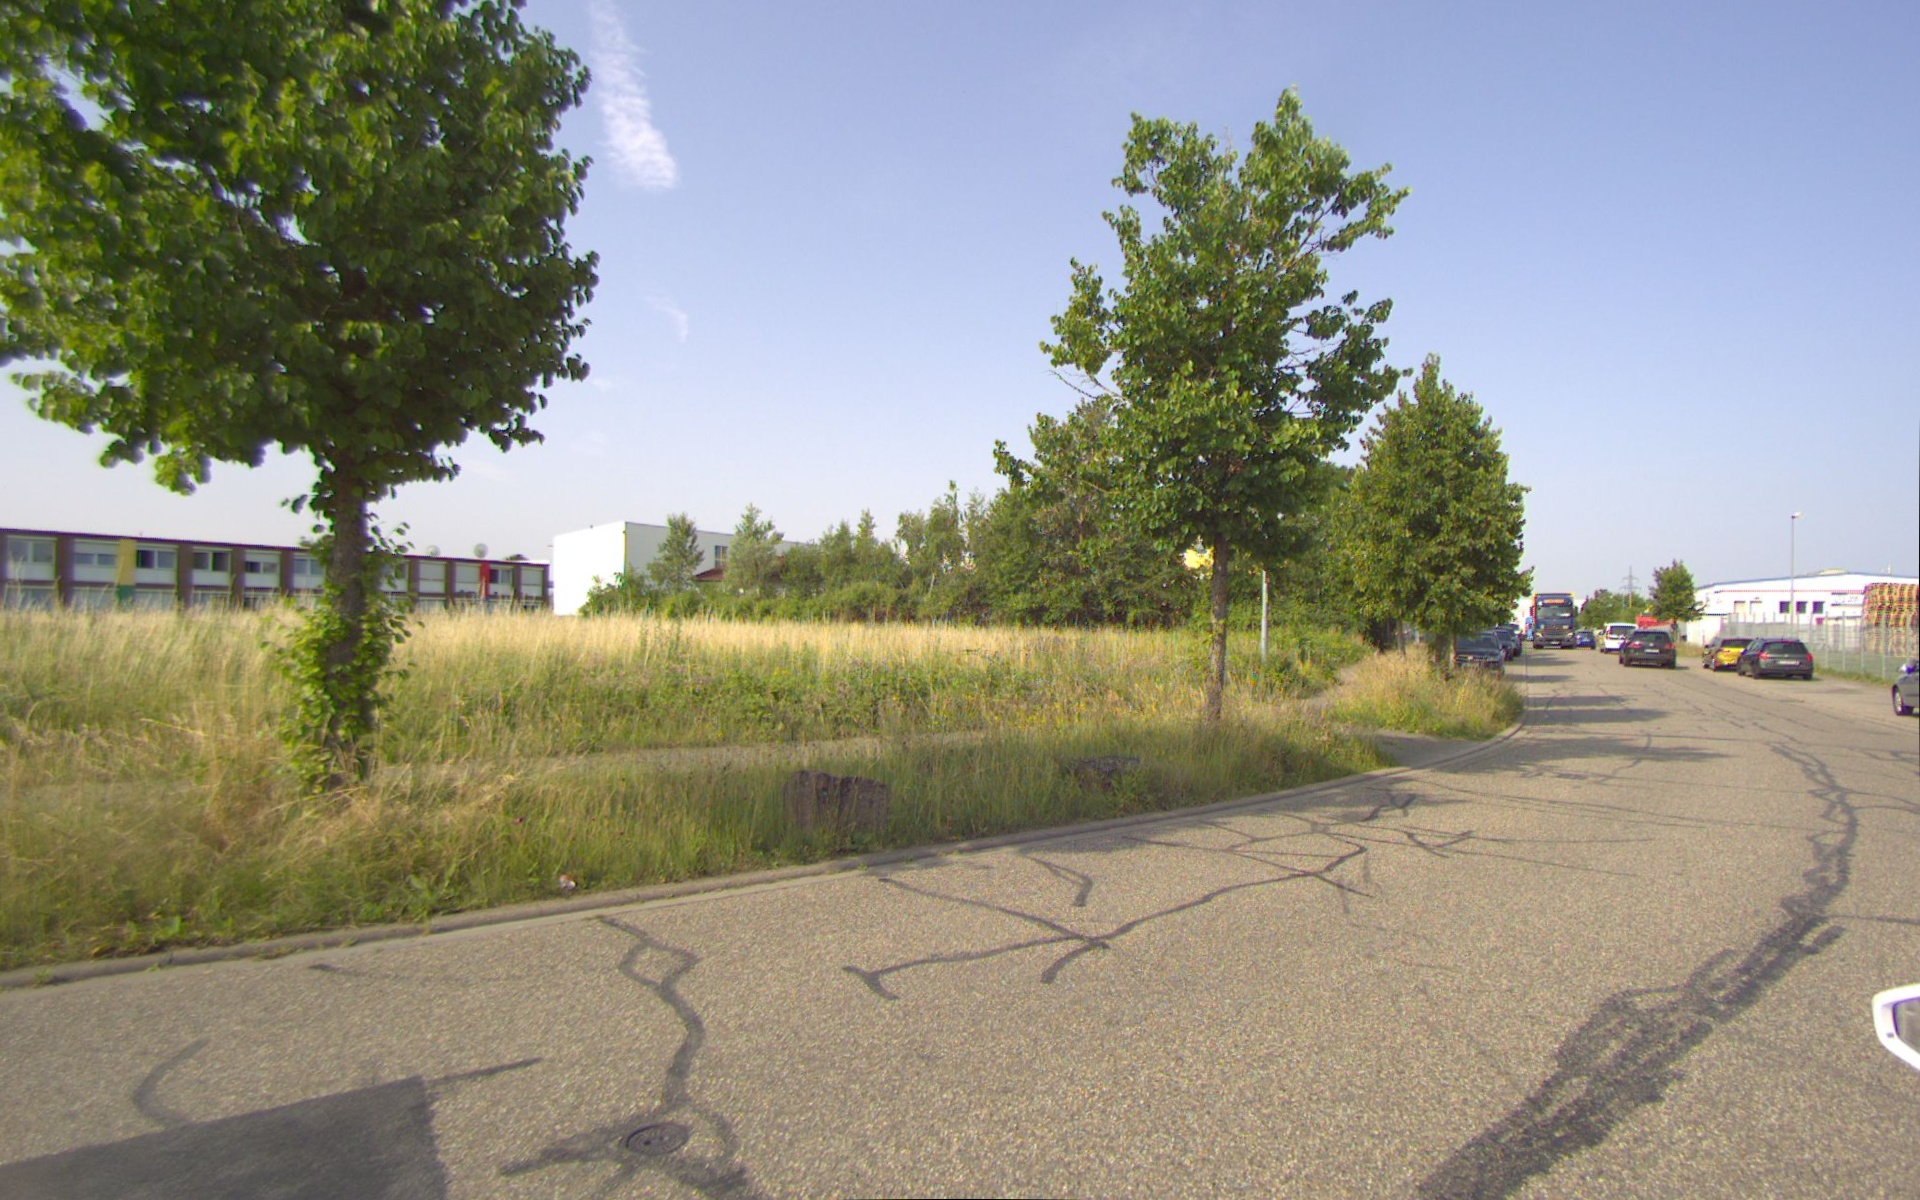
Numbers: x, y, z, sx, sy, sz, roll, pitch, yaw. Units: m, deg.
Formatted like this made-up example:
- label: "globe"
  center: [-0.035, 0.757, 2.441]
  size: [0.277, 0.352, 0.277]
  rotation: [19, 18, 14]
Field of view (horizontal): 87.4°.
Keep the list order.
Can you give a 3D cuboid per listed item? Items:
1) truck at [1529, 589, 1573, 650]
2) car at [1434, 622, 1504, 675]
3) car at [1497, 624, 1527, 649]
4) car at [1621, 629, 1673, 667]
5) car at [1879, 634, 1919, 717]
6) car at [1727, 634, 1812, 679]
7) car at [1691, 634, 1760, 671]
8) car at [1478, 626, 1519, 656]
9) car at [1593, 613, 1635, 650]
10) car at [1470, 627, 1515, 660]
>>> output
- label: "truck"
  center: [43.963, 1.504, 74.894]
  size: [2.461, 4.200, 10.362]
  rotation: [-1, -2, 29]
- label: "car"
  center: [17.893, 1.642, 35.180]
  size: [1.875, 1.647, 4.440]
  rotation: [2, 0, 30]
- label: "car"
  center: [41.733, 2.738, 75.886]
  size: [1.806, 1.786, 4.041]
  rotation: [2, 0, 30]
- label: "car"
  center: [31.015, 2.153, 45.325]
  size: [1.856, 1.607, 4.100]
  rotation: [0, -2, 35]
- label: "car"
  center: [20.290, 1.523, 20.100]
  size: [1.772, 1.647, 4.442]
  rotation: [-2, -2, 29]
- label: "car"
  center: [30.227, 2.076, 37.626]
  size: [1.689, 1.535, 3.999]
  rotation: [-2, -2, 27]
- label: "car"
  center: [32.548, 2.199, 42.799]
  size: [1.689, 1.474, 4.181]
  rotation: [-2, -2, 28]
- label: "car"
  center: [30.035, 2.267, 55.977]
  size: [1.806, 1.516, 4.041]
  rotation: [2, 0, 30]
- label: "car"
  center: [39.853, 1.922, 61.288]
  size: [2.092, 2.138, 4.613]
  rotation: [0, -2, 33]
- label: "car"
  center: [26.916, 2.160, 50.728]
  size: [1.806, 1.516, 4.041]
  rotation: [2, 0, 30]
